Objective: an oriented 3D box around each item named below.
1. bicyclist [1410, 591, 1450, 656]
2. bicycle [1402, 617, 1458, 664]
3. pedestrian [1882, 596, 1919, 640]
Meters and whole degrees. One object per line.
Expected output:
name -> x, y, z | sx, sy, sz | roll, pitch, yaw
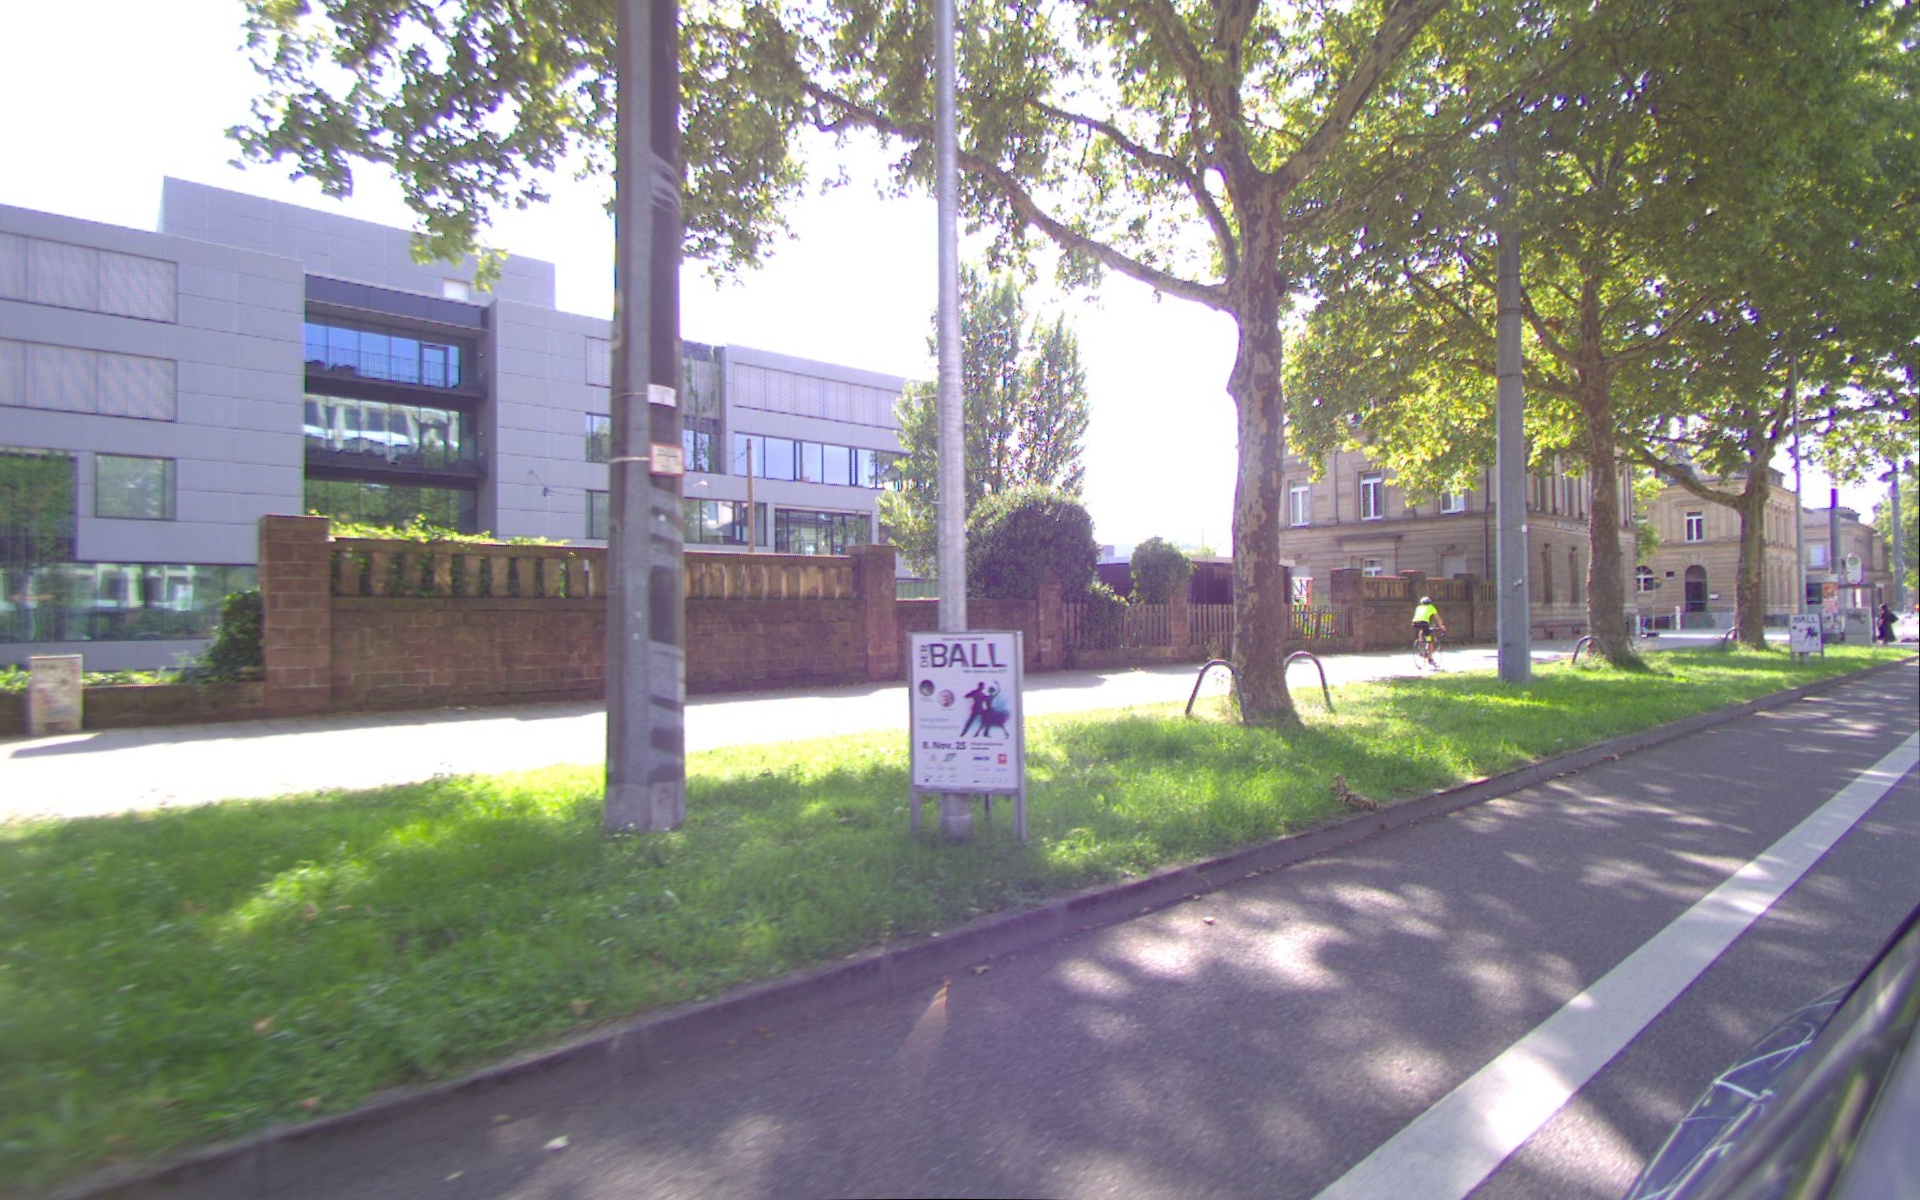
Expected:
bicyclist -> 10.846, 0.543, 23.352 | 0.827, 1.472, 0.549 | 1, -1, -41
bicycle -> 10.853, 0.924, 23.350 | 1.683, 1.020, 0.549 | 0, -1, -41
pedestrian -> 36.098, 0.693, 38.730 | 0.871, 1.647, 0.819 | -1, -2, 13
